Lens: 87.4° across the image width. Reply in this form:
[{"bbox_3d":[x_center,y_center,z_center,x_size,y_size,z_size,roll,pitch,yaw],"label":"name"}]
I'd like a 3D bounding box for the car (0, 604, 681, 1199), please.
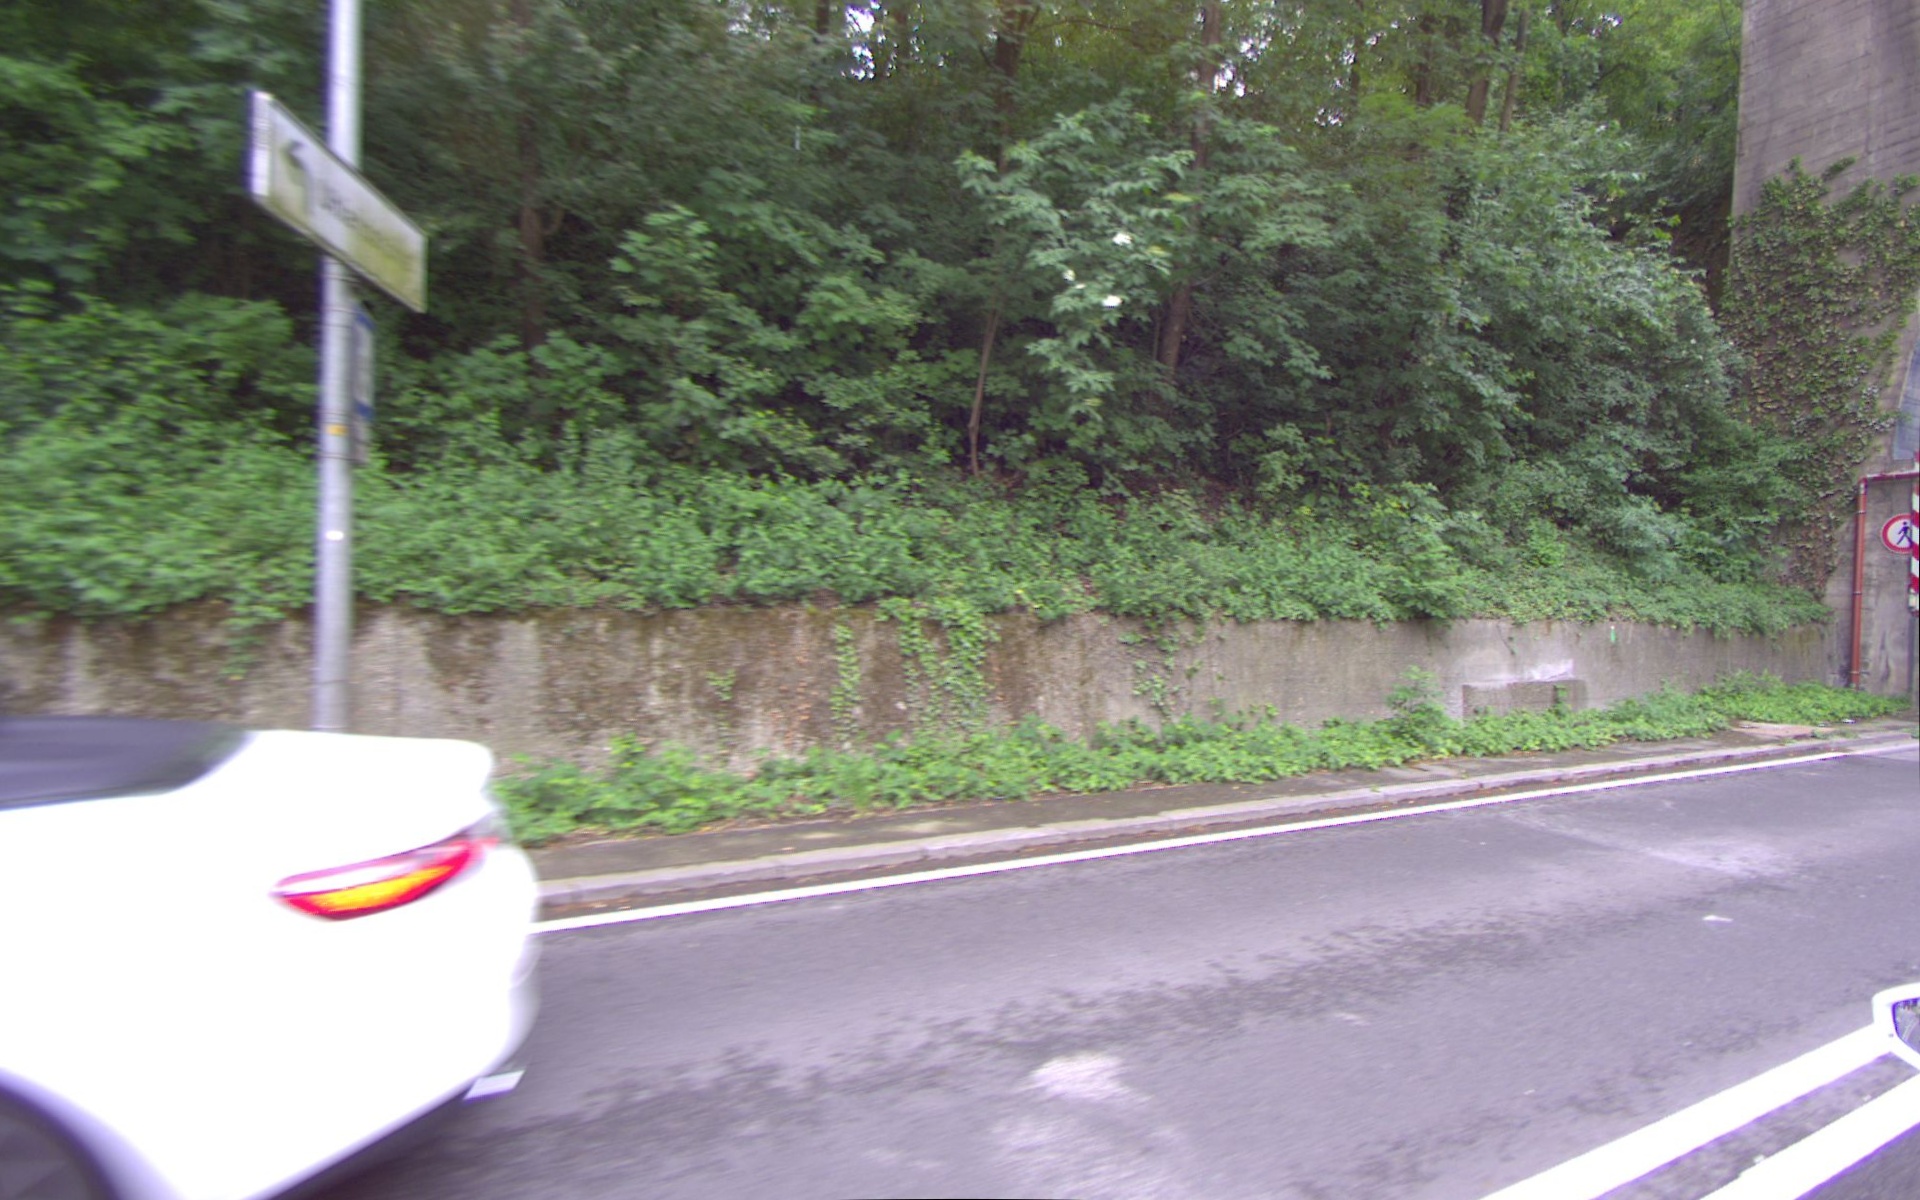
[{"bbox_3d":[-2.983,0.701,1.944,4.402,1.389,1.860,1,0,-30],"label":"car"}]
